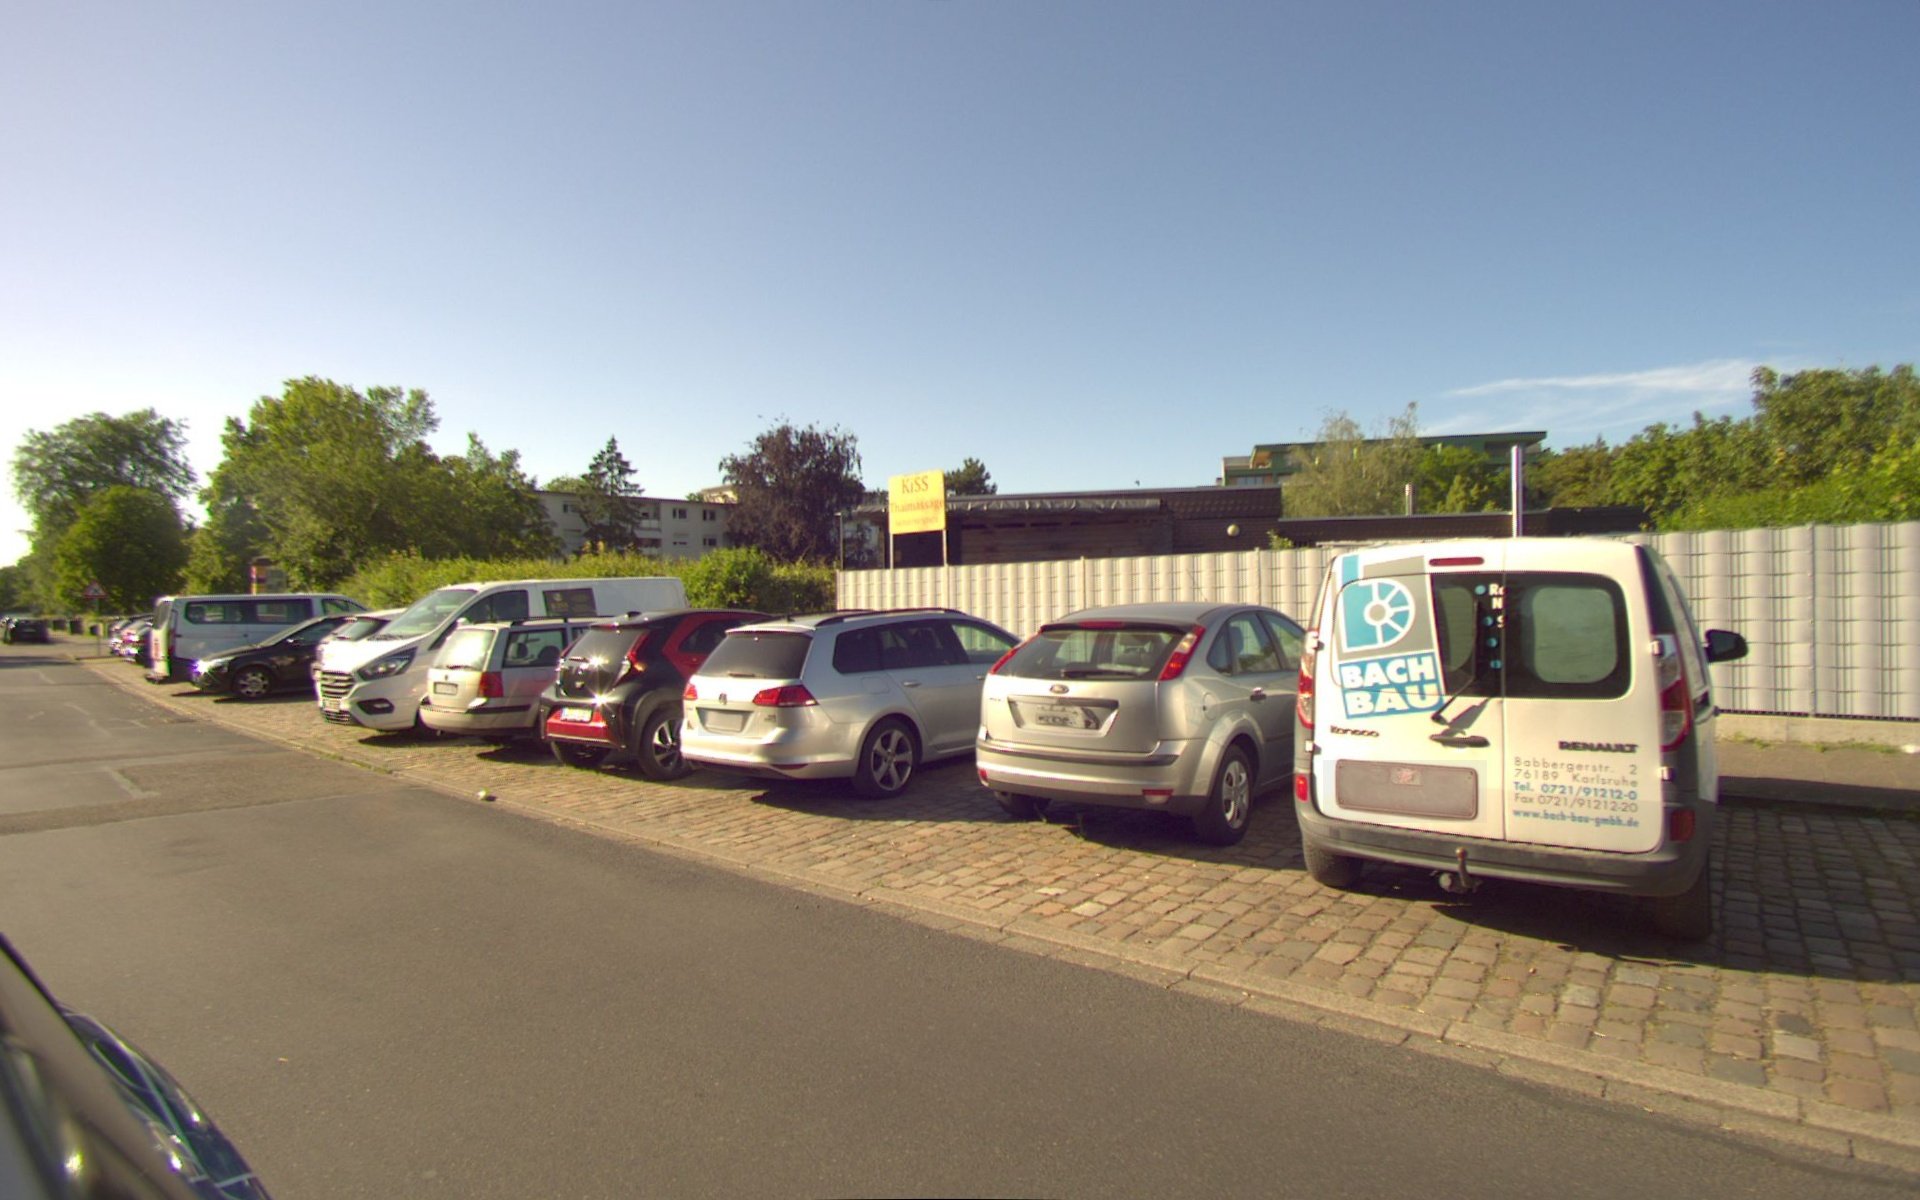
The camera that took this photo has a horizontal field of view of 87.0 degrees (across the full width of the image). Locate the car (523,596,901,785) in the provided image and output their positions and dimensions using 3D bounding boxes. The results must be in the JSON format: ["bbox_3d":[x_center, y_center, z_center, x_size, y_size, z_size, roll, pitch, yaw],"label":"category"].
[{"bbox_3d":[-2.416,0.798,10.497,1.635,1.500,3.480,-3,0,39],"label":"car"}]

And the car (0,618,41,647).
[{"bbox_3d":[-55.328,1.895,59.497,1.759,1.585,4.427,-2,0,-44],"label":"car"}]

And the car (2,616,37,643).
[{"bbox_3d":[-71.470,2.257,76.886,1.882,1.956,4.515,3,-3,-43],"label":"car"}]

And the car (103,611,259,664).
[{"bbox_3d":[-27.062,1.245,35.257,1.813,1.524,4.047,0,2,44],"label":"car"}]

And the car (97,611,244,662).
[{"bbox_3d":[-28.641,1.270,36.792,1.832,1.544,3.943,0,2,44],"label":"car"}]

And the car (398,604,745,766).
[{"bbox_3d":[-4.450,0.858,11.997,1.634,1.457,3.482,-1,2,37],"label":"car"}]

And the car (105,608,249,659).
[{"bbox_3d":[-30.315,1.257,39.283,1.847,1.668,4.141,0,2,43],"label":"car"}]

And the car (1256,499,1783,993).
[{"bbox_3d":[3.403,0.505,5.834,1.923,1.794,3.940,-2,0,38],"label":"car"}]

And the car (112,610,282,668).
[{"bbox_3d":[-23.370,1.154,31.088,3.942,1.490,1.792,-4,1,-45],"label":"car"}]

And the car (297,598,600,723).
[{"bbox_3d":[-8.148,0.851,16.346,1.885,1.594,3.942,0,2,45],"label":"car"}]

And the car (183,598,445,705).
[{"bbox_3d":[-12.576,0.901,19.807,4.099,1.718,1.887,-3,2,-39],"label":"car"}]

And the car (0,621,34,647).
[{"bbox_3d":[-62.236,2.229,66.604,1.792,1.695,3.651,3,-3,-44],"label":"car"}]

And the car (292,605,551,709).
[{"bbox_3d":[-9.700,0.936,18.383,1.885,1.498,3.726,0,2,45],"label":"car"}]

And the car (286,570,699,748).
[{"bbox_3d":[-6.261,0.638,14.077,2.080,1.935,4.742,-1,2,39],"label":"car"}]

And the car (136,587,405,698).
[{"bbox_3d":[-14.738,0.802,21.821,2.001,1.991,4.429,0,2,44],"label":"car"}]

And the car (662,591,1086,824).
[{"bbox_3d":[-0.606,0.747,8.885,1.637,1.500,3.475,-1,2,43],"label":"car"}]

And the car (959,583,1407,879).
[{"bbox_3d":[1.789,0.695,7.344,1.726,1.500,3.478,-1,2,40],"label":"car"}]

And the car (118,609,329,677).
[{"bbox_3d":[-20.307,1.129,28.045,4.492,1.490,1.748,-4,1,-45],"label":"car"}]
